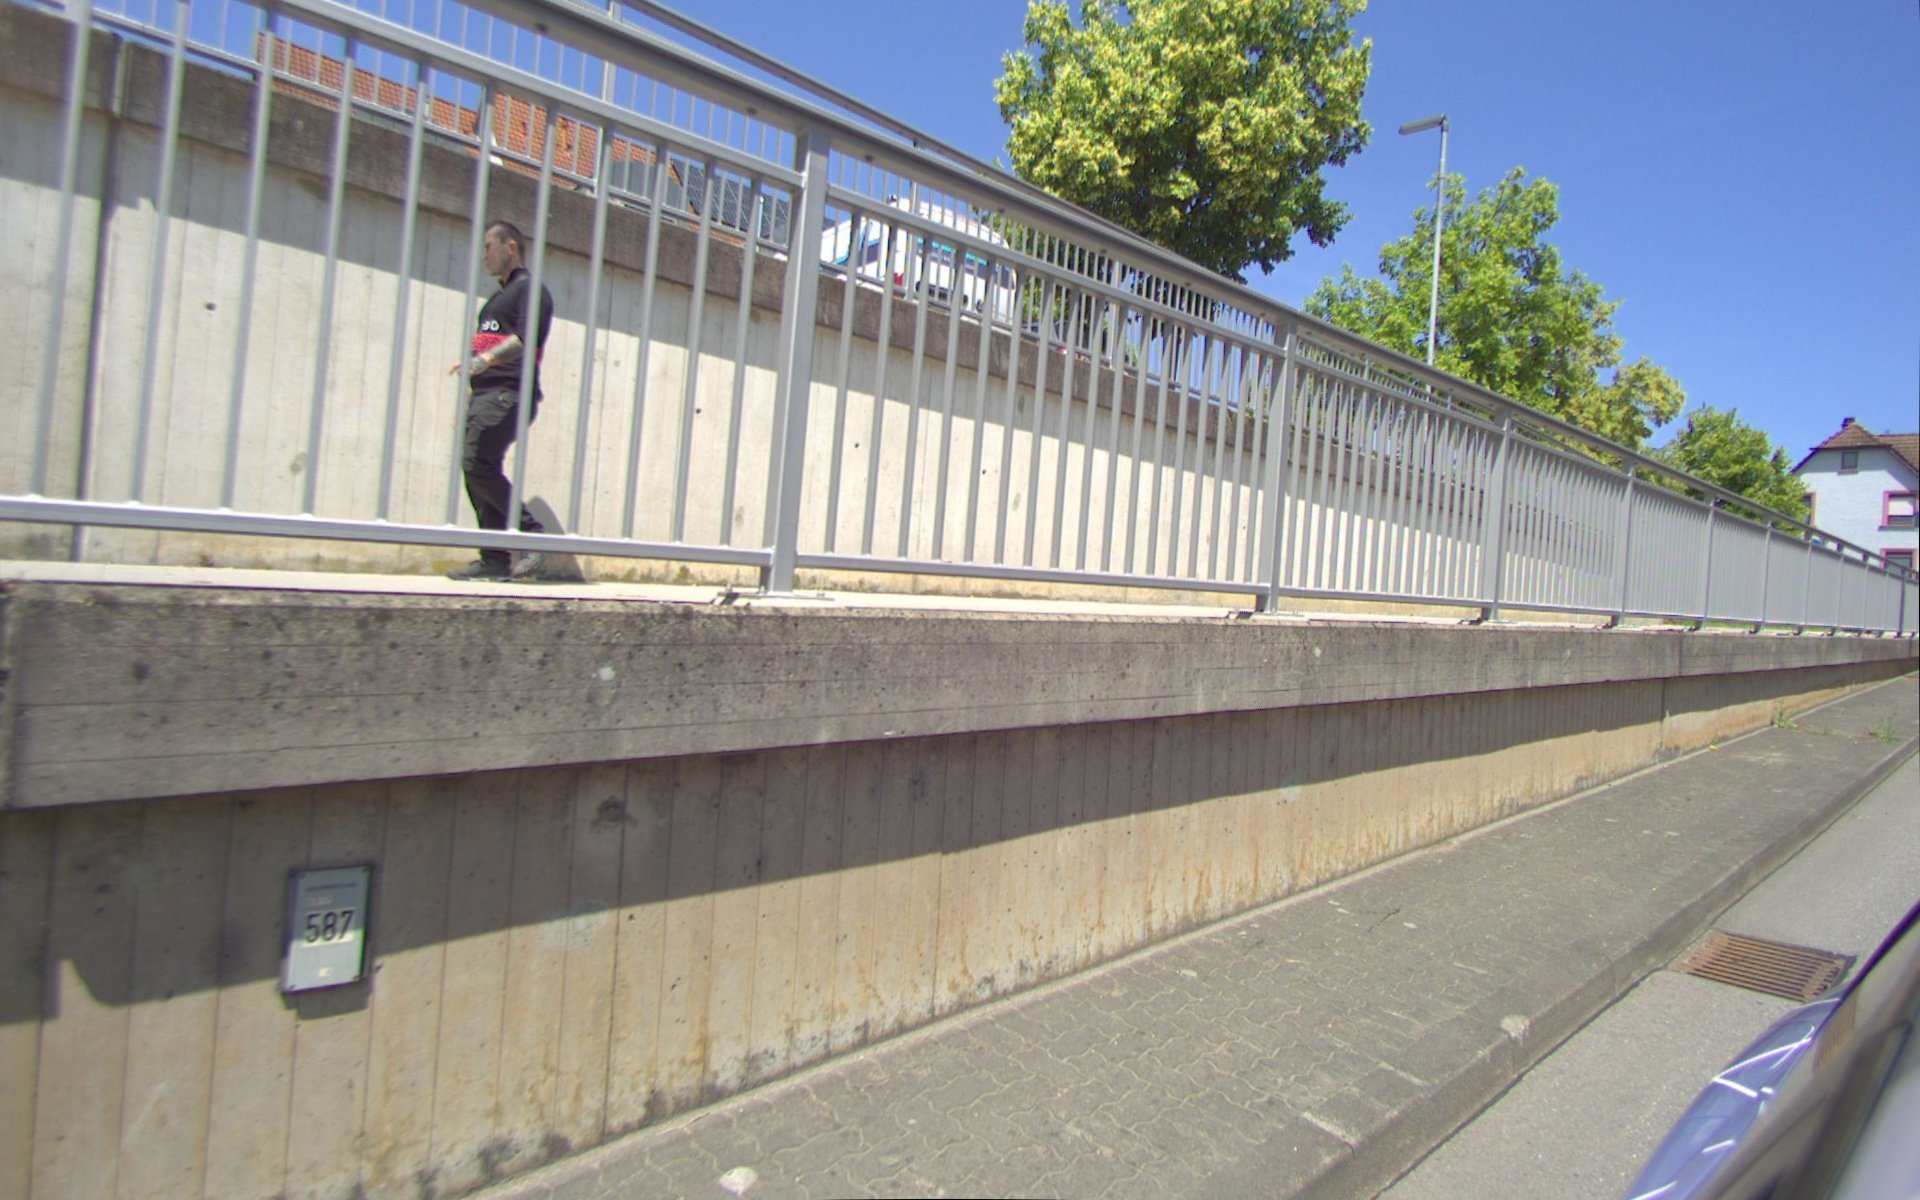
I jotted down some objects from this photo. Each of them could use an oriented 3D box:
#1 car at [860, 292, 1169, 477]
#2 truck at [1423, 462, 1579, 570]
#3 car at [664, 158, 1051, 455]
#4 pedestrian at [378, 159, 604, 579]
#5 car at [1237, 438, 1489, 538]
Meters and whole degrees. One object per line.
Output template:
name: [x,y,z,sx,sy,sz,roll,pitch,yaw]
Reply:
car: [0.563,-2.694,13.558,1.655,1.616,4.214,4,-1,-39]
truck: [15.179,-2.232,28.277,5.167,2.364,2.136,4,-1,-42]
car: [-1.472,-3.098,11.987,1.952,2.089,5.124,4,-1,-39]
pedestrian: [-2.317,-1.026,4.983,0.774,1.804,0.838,2,1,-41]
car: [7.649,-2.055,19.543,1.655,1.517,4.214,4,-1,-39]
